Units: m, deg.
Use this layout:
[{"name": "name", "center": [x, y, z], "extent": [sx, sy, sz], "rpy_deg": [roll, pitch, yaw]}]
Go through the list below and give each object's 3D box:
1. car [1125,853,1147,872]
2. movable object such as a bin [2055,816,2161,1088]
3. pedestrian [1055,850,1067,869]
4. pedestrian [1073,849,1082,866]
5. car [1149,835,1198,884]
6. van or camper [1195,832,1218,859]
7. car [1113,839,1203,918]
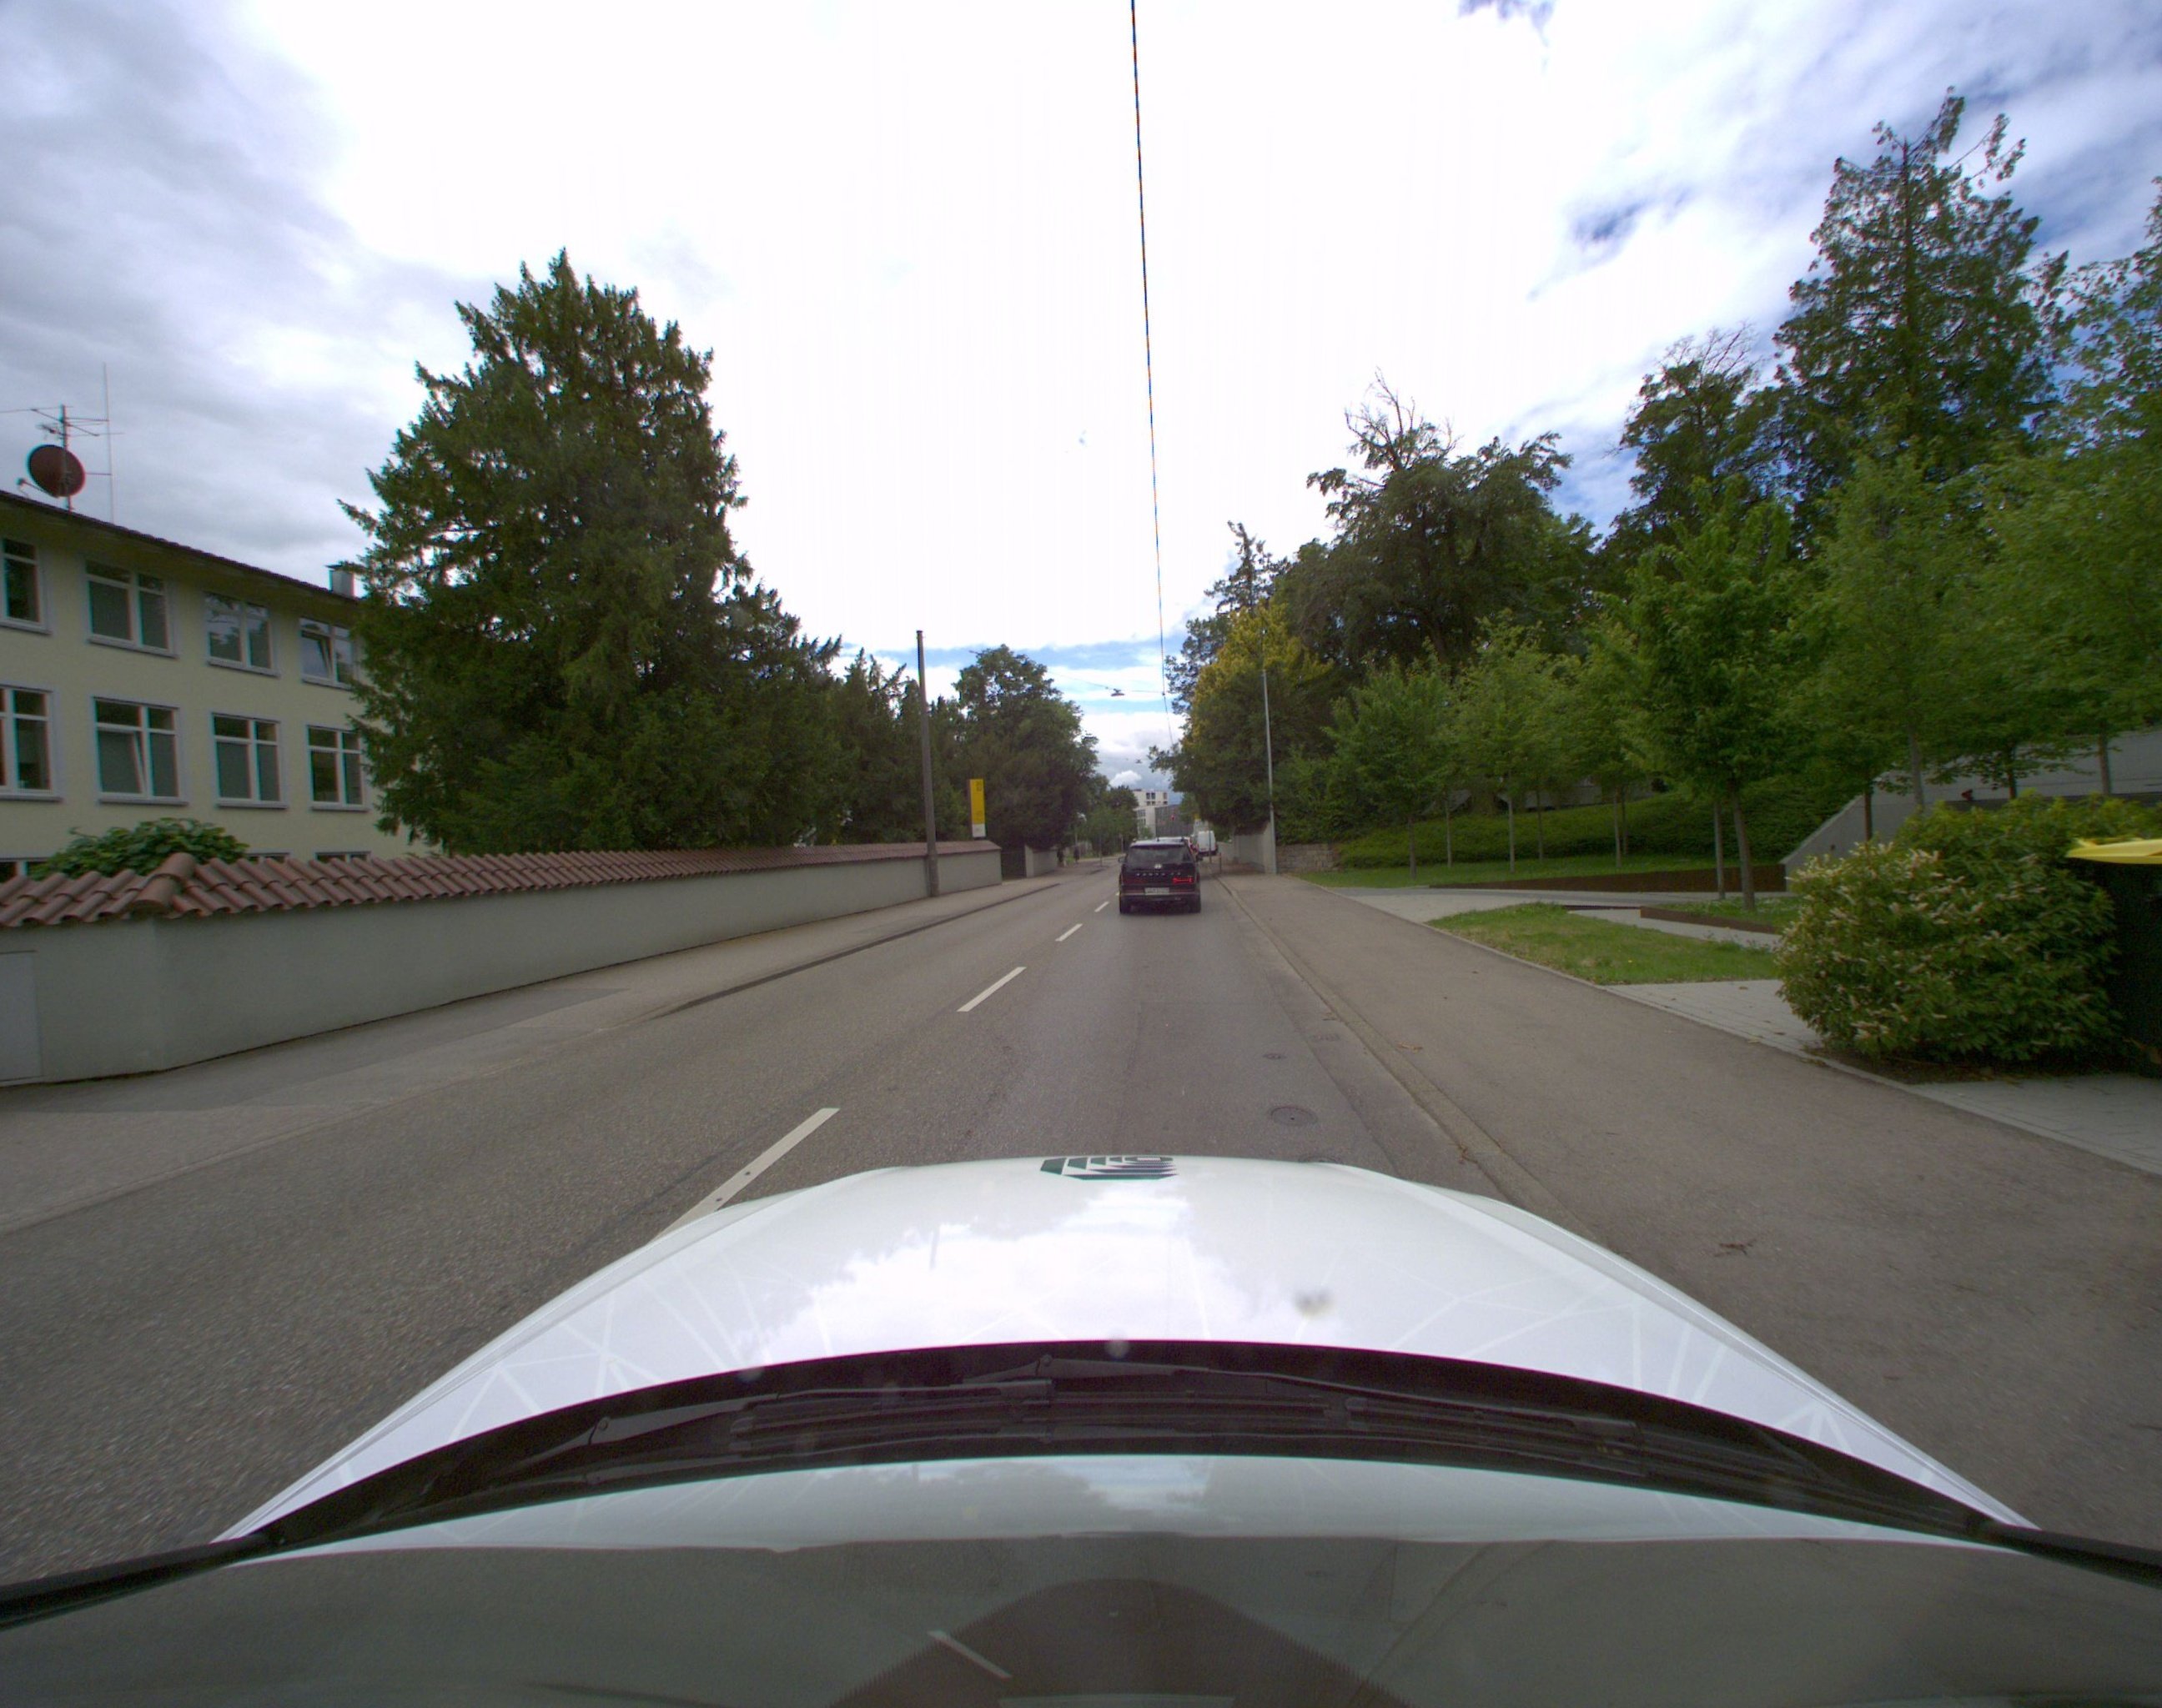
[{"name": "car", "center": [4.771, 0.687, 70.404], "extent": [1.777, 1.428, 4.005], "rpy_deg": [-4, 0, 5]}, {"name": "movable object such as a bin", "center": [6.026, 0.475, 4.034], "extent": [1.258, 1.363, 0.877], "rpy_deg": [-2, -1, 7]}, {"name": "pedestrian", "center": [-1.681, 0.463, 68.463], "extent": [0.922, 1.560, 0.903], "rpy_deg": [0, -1, 3]}, {"name": "pedestrian", "center": [-0.340, 0.340, 77.055], "extent": [0.744, 1.578, 0.968], "rpy_deg": [-1, 0, 7]}, {"name": "car", "center": [4.150, 0.228, 36.610], "extent": [1.953, 2.001, 4.007], "rpy_deg": [-3, 0, 6]}, {"name": "van or camper", "center": [13.532, -0.880, 88.085], "extent": [1.953, 2.627, 6.370], "rpy_deg": [-5, 0, 7]}, {"name": "car", "center": [1.902, 0.524, 20.048], "extent": [1.954, 1.711, 4.007], "rpy_deg": [-2, 0, 6]}]
